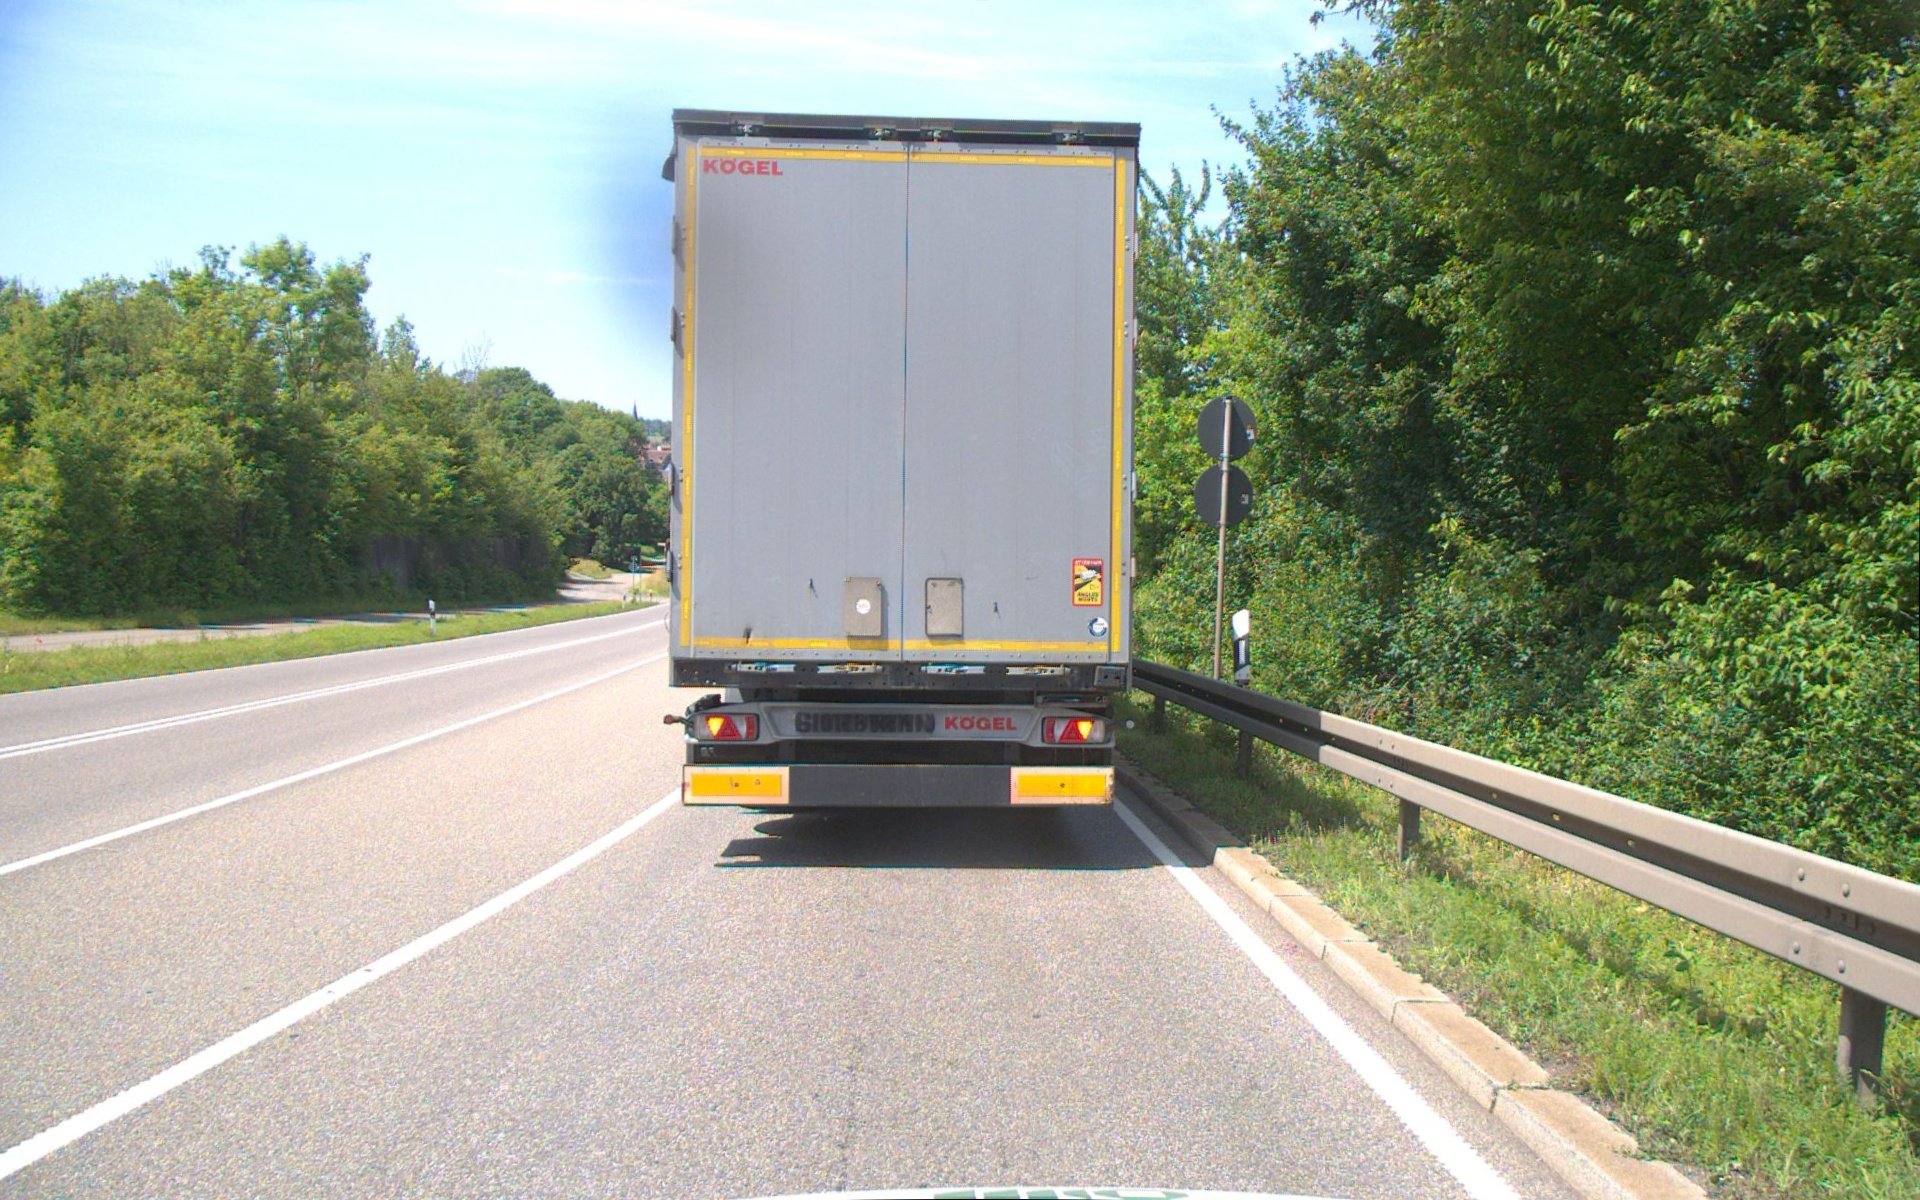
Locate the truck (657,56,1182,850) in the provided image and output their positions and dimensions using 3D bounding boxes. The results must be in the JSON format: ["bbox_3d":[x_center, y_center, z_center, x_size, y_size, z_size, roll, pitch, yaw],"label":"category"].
[{"bbox_3d":[-0.368,-0.795,14.581,2.701,4.100,11.920,1,0,-2],"label":"truck"}]
